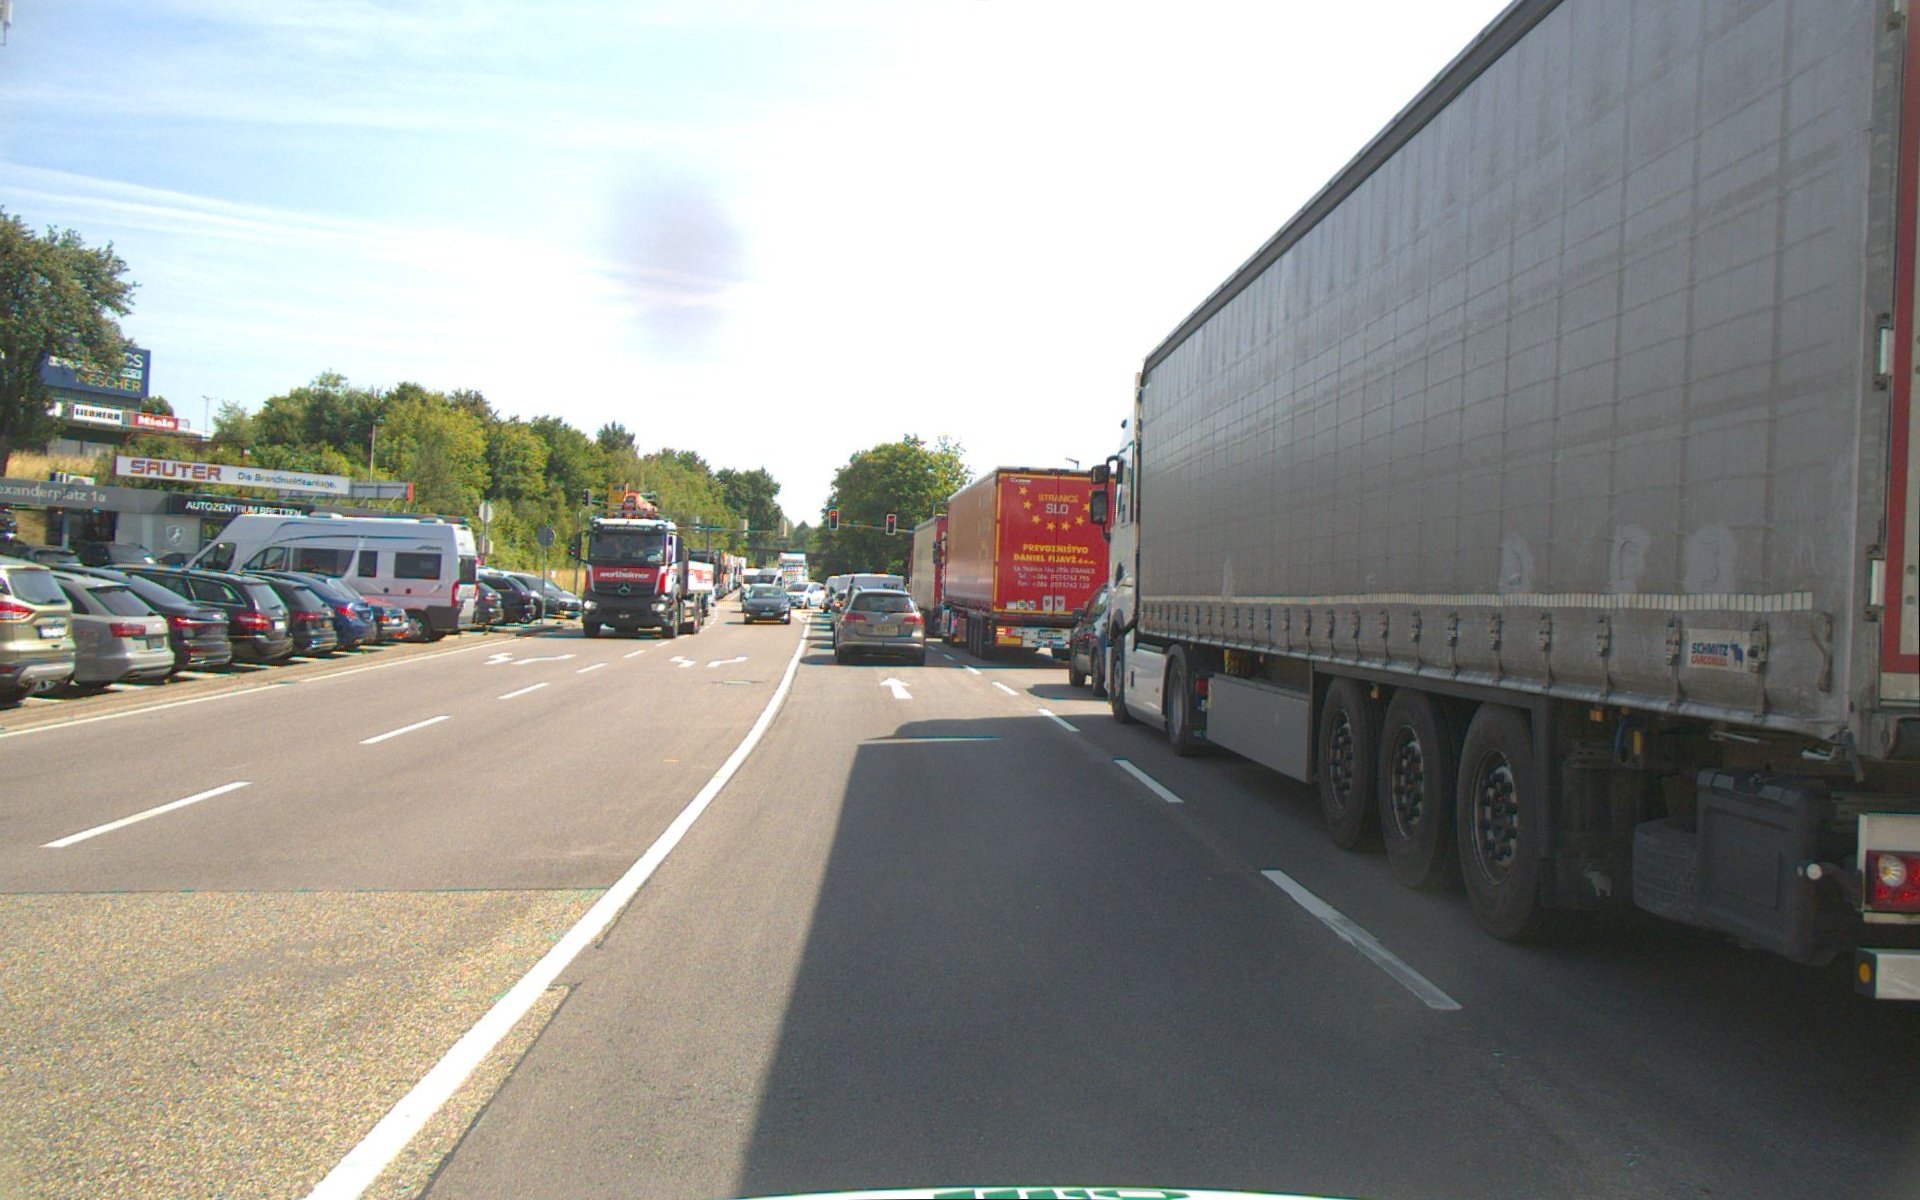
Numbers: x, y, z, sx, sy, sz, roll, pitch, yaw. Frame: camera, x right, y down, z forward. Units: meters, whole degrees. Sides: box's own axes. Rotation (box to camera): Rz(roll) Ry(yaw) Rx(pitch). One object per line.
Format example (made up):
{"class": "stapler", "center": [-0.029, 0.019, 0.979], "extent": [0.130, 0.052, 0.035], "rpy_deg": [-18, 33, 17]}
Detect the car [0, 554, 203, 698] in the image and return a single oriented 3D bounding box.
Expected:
{"class": "car", "center": [-11.927, 0.213, 20.416], "extent": [4.196, 1.510, 1.834], "rpy_deg": [5, 0, -6]}

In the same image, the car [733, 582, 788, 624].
{"class": "car", "center": [-7.845, 0.096, 65.389], "extent": [1.770, 1.587, 4.385], "rpy_deg": [1, 0, -2]}

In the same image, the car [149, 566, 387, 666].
{"class": "car", "center": [-12.680, 0.273, 30.480], "extent": [3.636, 1.582, 1.706], "rpy_deg": [3, 1, -6]}

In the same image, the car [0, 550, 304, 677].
{"class": "car", "center": [-12.744, 0.192, 25.606], "extent": [4.374, 1.510, 1.770], "rpy_deg": [5, 0, -6]}

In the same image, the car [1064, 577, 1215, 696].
{"class": "car", "center": [2.749, 0.521, 26.160], "extent": [1.782, 1.714, 3.998], "rpy_deg": [1, 0, -3]}

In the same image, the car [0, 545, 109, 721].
{"class": "car", "center": [-11.576, 0.193, 17.748], "extent": [3.812, 1.746, 1.804], "rpy_deg": [5, 0, -6]}

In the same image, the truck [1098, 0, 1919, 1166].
{"class": "truck", "center": [3.489, -0.747, 12.604], "extent": [2.832, 4.340, 16.703], "rpy_deg": [1, 0, -2]}

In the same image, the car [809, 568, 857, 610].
{"class": "car", "center": [-5.011, -0.422, 65.628], "extent": [1.692, 1.545, 3.311], "rpy_deg": [2, 0, -2]}

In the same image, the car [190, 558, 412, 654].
{"class": "car", "center": [-13.001, 0.109, 32.803], "extent": [3.637, 1.510, 1.705], "rpy_deg": [5, 0, -6]}

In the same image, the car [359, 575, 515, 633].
{"class": "car", "center": [-14.327, 0.104, 45.445], "extent": [3.742, 1.473, 1.840], "rpy_deg": [1, 0, -6]}

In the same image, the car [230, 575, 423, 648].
{"class": "car", "center": [-13.771, 0.240, 36.106], "extent": [3.523, 1.506, 1.811], "rpy_deg": [1, 0, -4]}

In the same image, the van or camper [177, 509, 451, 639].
{"class": "van or camper", "center": [-15.796, -0.637, 40.718], "extent": [5.776, 2.923, 2.288], "rpy_deg": [2, 1, -5]}

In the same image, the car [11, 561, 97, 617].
{"class": "car", "center": [-27.397, -0.351, 49.973], "extent": [1.750, 1.616, 3.778], "rpy_deg": [1, 0, -37]}

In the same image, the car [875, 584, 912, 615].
{"class": "car", "center": [-3.506, -0.028, 86.778], "extent": [1.693, 1.545, 3.308], "rpy_deg": [2, -1, -5]}

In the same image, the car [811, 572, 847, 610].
{"class": "car", "center": [-6.962, -0.471, 88.254], "extent": [1.692, 1.942, 3.311], "rpy_deg": [2, 0, -1]}

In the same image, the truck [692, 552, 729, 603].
{"class": "truck", "center": [-19.510, -1.774, 129.661], "extent": [2.760, 3.852, 6.977], "rpy_deg": [0, 1, -8]}

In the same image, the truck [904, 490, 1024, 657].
{"class": "truck", "center": [-0.155, -0.938, 62.219], "extent": [3.002, 5.311, 16.991], "rpy_deg": [2, 0, -4]}

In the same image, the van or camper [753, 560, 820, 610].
{"class": "van or camper", "center": [-11.732, -0.985, 112.366], "extent": [2.162, 3.108, 5.905], "rpy_deg": [4, 0, 18]}

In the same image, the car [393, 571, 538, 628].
{"class": "car", "center": [-14.420, -0.031, 48.387], "extent": [3.742, 1.566, 1.840], "rpy_deg": [1, 0, -6]}

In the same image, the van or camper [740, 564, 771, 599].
{"class": "van or camper", "center": [-15.856, -1.439, 128.297], "extent": [2.131, 2.596, 4.166], "rpy_deg": [2, 0, -5]}

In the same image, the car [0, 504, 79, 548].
{"class": "car", "center": [-34.370, -2.731, 61.618], "extent": [3.687, 1.476, 1.724], "rpy_deg": [2, -1, 45]}

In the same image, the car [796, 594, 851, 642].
{"class": "car", "center": [-4.693, 0.603, 57.246], "extent": [1.692, 1.545, 3.311], "rpy_deg": [2, 0, -2]}

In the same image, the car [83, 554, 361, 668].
{"class": "car", "center": [-12.321, 0.182, 27.834], "extent": [3.771, 1.510, 1.800], "rpy_deg": [5, 0, -6]}

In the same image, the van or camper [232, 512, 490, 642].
{"class": "van or camper", "center": [-13.821, -0.531, 38.450], "extent": [5.141, 2.779, 2.209], "rpy_deg": [2, 0, -3]}

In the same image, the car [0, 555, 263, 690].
{"class": "car", "center": [-12.235, 0.257, 22.999], "extent": [4.217, 1.510, 1.796], "rpy_deg": [5, 0, -6]}

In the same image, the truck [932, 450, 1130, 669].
{"class": "truck", "center": [1.295, -0.892, 41.716], "extent": [2.899, 4.344, 16.569], "rpy_deg": [2, 0, -4]}

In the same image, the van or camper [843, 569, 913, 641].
{"class": "van or camper", "center": [-2.400, 0.123, 47.728], "extent": [1.816, 1.939, 3.781], "rpy_deg": [2, 0, -5]}

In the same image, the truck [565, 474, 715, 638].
{"class": "truck", "center": [-9.194, -1.210, 48.808], "extent": [2.897, 4.282, 10.640], "rpy_deg": [0, 1, -3]}

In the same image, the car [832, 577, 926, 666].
{"class": "car", "center": [-1.584, 0.410, 33.291], "extent": [1.754, 1.667, 3.503], "rpy_deg": [1, 0, -1]}

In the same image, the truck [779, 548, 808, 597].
{"class": "truck", "center": [-15.456, -2.506, 153.677], "extent": [2.503, 4.382, 7.588], "rpy_deg": [0, 0, -5]}

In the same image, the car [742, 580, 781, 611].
{"class": "car", "center": [-10.497, -0.251, 87.318], "extent": [1.874, 1.548, 4.772], "rpy_deg": [1, 0, -9]}
